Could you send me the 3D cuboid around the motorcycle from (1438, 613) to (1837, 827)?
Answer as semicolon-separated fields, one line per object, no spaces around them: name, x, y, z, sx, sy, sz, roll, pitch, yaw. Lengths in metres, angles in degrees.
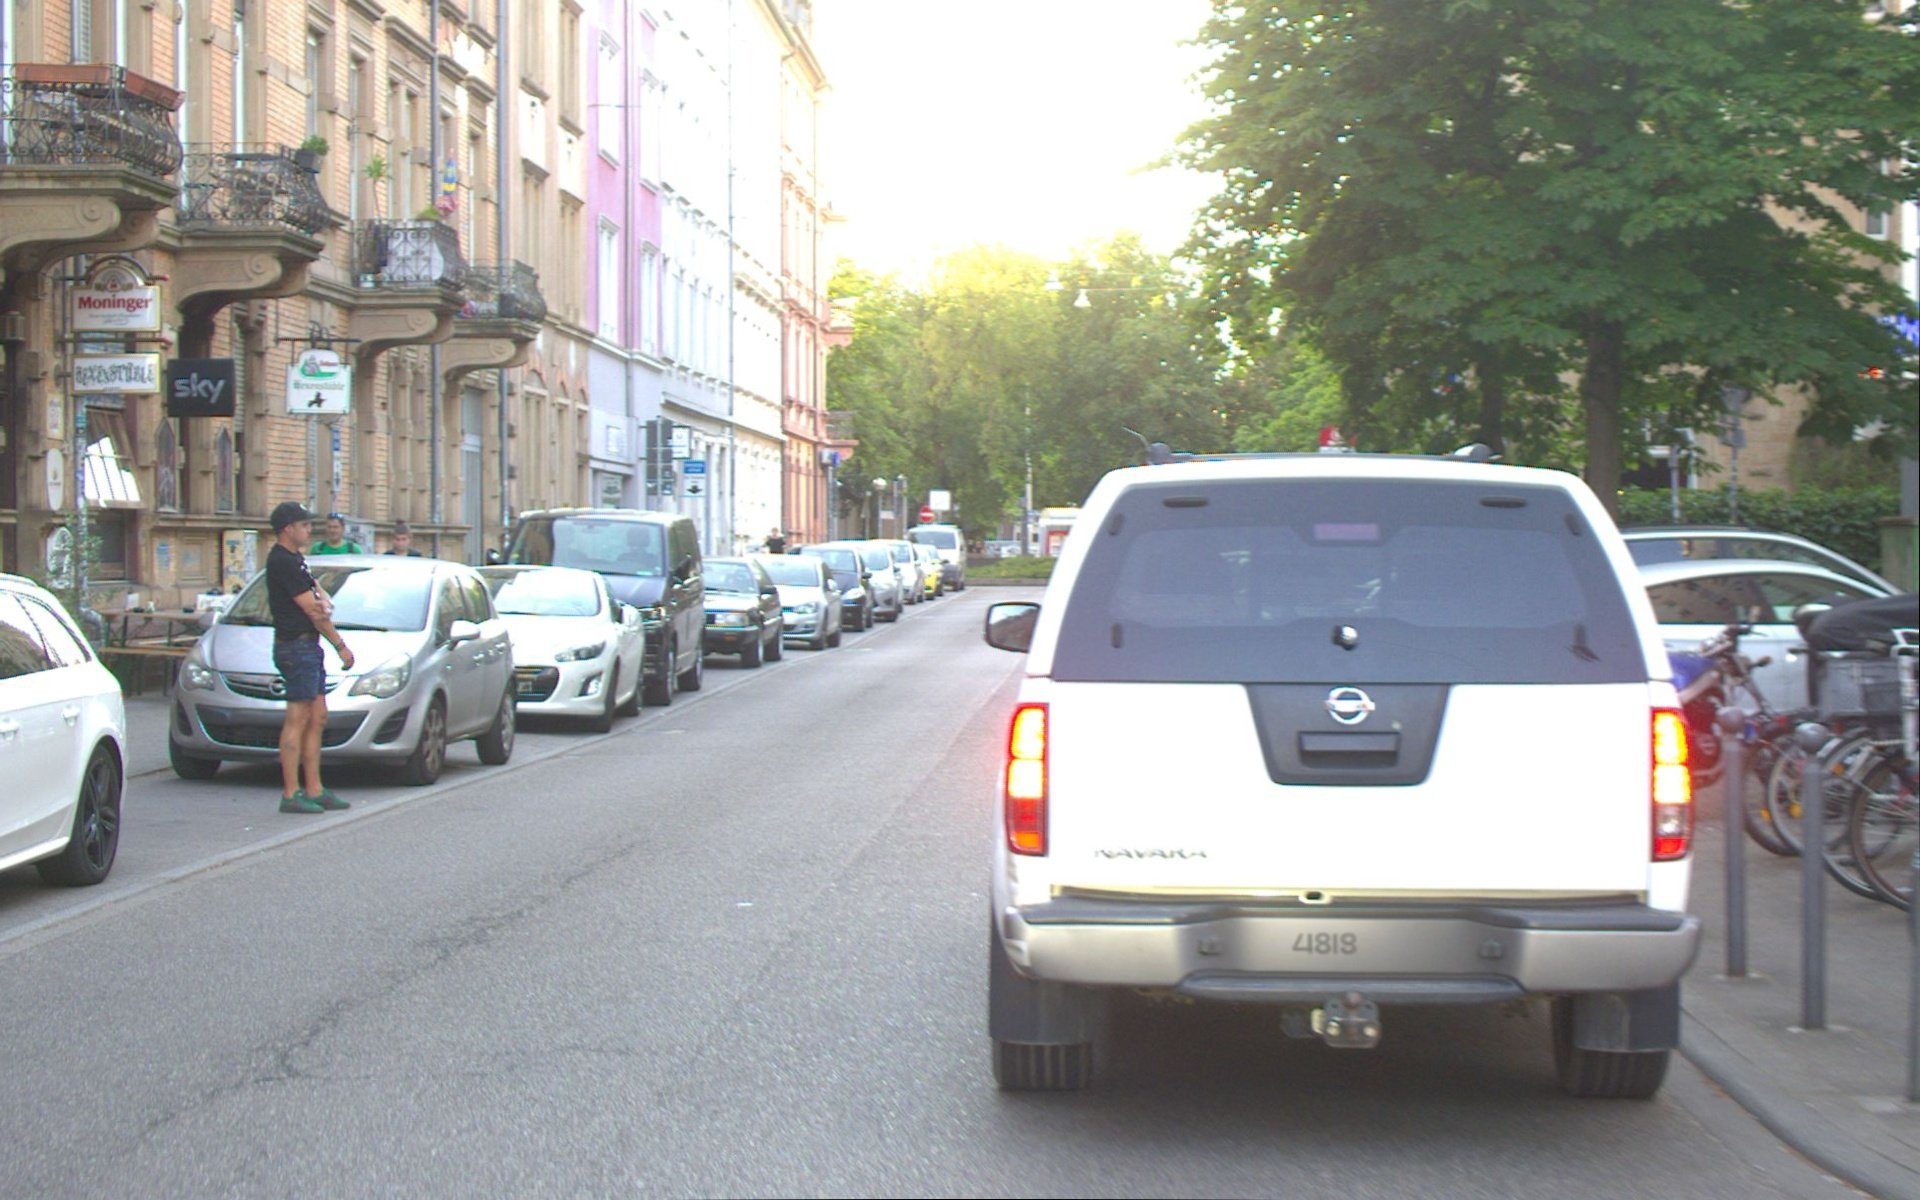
motorcycle;3.789;0.654;19.246;2.057;1.074;0.664;-2;0;-12

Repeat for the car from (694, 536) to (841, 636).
car;-3.008;-0.250;54.524;1.834;1.453;4.206;2;1;3

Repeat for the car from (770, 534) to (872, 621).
car;-2.559;-0.446;64.163;1.636;1.560;3.781;1;1;2

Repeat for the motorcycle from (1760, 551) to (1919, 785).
motorcycle;6.093;0.382;21.271;2.057;1.364;0.717;-3;1;-1

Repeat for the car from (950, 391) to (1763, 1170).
car;0.954;0.409;10.969;1.911;1.847;5.270;1;1;0

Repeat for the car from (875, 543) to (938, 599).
car;-1.508;-0.840;98.507;1.698;1.547;4.022;1;1;0

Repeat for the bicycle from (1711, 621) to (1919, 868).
bicycle;4.342;0.617;15.535;1.720;1.028;0.667;-4;0;6

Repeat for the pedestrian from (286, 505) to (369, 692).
pedestrian;-6.139;-0.025;33.393;0.580;1.765;0.998;2;2;-1

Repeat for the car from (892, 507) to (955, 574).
car;-1.148;-1.844;106.635;1.810;1.970;4.187;1;1;-2

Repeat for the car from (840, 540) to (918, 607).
car;-2.013;-0.678;86.453;1.698;1.615;4.022;1;1;2

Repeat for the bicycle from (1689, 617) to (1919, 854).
bicycle;4.391;0.608;16.152;1.773;1.019;0.565;-4;0;6

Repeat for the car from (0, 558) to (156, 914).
car;-4.767;0.560;13.977;1.758;1.407;4.508;1;1;3

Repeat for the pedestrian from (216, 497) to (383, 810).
pedestrian;-3.790;0.299;19.780;0.554;1.749;1.022;0;0;14

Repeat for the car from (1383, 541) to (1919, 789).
car;5.244;0.390;23.278;4.422;1.450;1.780;-2;1;-3

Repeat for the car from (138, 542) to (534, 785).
car;-4.141;0.362;23.432;1.717;1.452;4.000;1;1;4

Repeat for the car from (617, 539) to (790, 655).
car;-3.326;-0.053;45.363;1.737;1.413;4.778;1;0;2

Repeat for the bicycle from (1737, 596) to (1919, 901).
bicycle;4.228;0.561;14.164;1.869;1.178;0.742;-4;0;8

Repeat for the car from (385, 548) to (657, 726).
car;-3.865;0.278;30.939;1.784;1.418;4.485;2;1;1

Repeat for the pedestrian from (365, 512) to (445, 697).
pedestrian;-5.430;0.036;33.648;0.605;1.766;0.777;2;2;-1

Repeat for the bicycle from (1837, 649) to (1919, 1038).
bicycle;3.623;0.689;10.396;1.722;1.114;0.707;-2;0;1

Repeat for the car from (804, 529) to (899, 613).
car;-2.199;-0.614;70.641;1.844;1.653;4.253;-1;1;0

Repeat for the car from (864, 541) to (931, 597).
car;-1.673;-0.846;92.578;1.698;1.421;4.022;1;1;0

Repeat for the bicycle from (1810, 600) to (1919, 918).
bicycle;4.259;0.561;13.318;1.789;1.178;0.733;-4;0;13

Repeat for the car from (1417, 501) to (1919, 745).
car;5.779;0.135;26.014;4.399;1.642;1.746;-2;1;2

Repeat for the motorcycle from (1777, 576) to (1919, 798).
motorcycle;5.940;0.473;20.239;2.057;1.239;0.717;-3;1;4

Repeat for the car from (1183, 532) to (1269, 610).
car;5.612;-0.634;72.630;1.676;1.496;3.900;-3;1;4

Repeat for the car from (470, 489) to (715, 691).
car;-3.777;-0.140;36.133;1.993;1.917;4.951;2;1;0

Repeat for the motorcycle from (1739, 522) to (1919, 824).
motorcycle;5.489;0.341;18.249;2.492;1.544;0.824;-3;0;6
